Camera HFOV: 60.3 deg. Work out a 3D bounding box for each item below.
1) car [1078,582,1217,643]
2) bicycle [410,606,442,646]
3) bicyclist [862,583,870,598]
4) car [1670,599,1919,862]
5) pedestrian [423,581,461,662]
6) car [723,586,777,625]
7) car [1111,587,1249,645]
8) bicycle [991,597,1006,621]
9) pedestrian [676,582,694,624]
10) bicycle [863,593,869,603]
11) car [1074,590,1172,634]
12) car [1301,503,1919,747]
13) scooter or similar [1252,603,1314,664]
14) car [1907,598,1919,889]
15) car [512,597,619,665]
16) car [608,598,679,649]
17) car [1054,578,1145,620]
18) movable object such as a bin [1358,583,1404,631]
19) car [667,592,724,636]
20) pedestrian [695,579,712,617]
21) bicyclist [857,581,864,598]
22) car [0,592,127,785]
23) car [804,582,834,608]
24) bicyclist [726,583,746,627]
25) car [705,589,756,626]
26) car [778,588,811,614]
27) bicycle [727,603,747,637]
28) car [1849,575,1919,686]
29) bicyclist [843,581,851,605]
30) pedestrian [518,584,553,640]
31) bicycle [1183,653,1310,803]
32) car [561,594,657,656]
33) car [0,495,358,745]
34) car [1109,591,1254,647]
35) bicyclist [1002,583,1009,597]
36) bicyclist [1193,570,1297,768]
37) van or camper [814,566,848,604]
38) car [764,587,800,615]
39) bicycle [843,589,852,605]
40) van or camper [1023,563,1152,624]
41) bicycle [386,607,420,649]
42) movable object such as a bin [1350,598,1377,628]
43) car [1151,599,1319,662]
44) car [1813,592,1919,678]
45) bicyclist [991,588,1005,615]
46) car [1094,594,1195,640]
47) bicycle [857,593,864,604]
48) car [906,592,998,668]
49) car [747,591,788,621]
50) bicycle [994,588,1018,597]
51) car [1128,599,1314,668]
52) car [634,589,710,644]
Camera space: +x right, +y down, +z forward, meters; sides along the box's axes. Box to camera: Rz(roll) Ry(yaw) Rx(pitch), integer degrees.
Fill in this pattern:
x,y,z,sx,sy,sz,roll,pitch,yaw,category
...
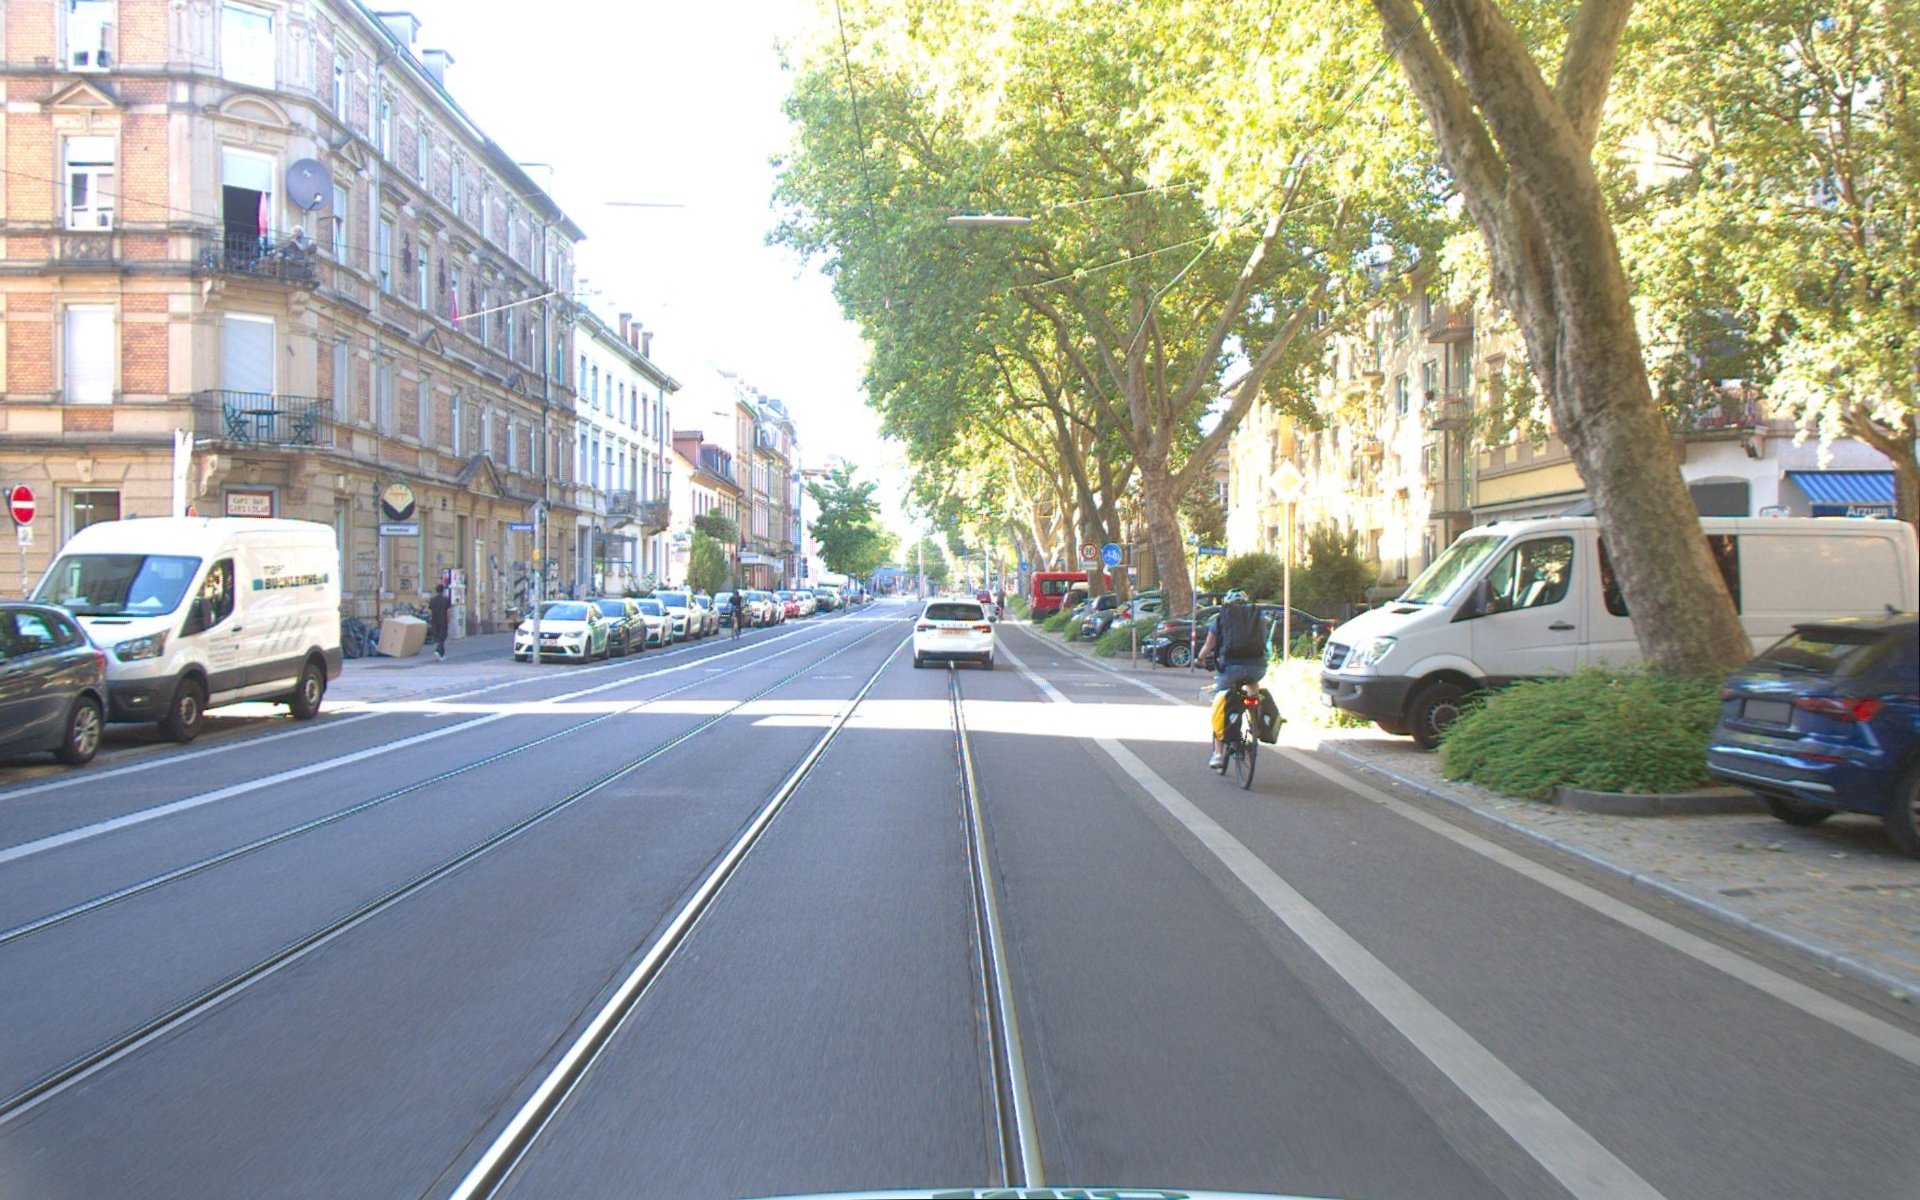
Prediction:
x,y,z,sx,sy,sz,roll,pitch,yaw,category
6.056,0.378,53.678,4.177,1.748,1.848,-3,0,-3,car
-14.703,0.697,45.545,0.365,1.052,1.847,0,0,-3,bicycle
-9.676,-0.961,170.150,0.625,1.529,1.070,-1,0,1,bicyclist
6.874,0.736,10.498,3.972,1.485,1.795,-1,0,-2,car
-11.956,0.481,38.182,0.671,1.832,1.055,1,0,-9,pedestrian
-9.708,0.222,76.741,1.818,1.733,4.763,-1,1,1,car
6.713,0.468,50.652,3.947,1.672,1.681,-1,0,-3,car
1.961,0.449,84.822,0.666,1.175,2.964,1,0,0,bicycle
-13.401,0.147,80.660,0.744,2.049,0.829,0,0,-3,pedestrian
-9.665,-0.227,170.122,0.488,0.959,1.922,-2,0,1,bicycle
6.181,0.445,62.999,3.522,1.544,1.693,-2,0,-1,car
6.648,0.225,17.048,5.867,2.322,2.006,0,1,1,car
6.871,0.712,35.128,1.279,1.277,0.341,0,0,13,scooter or similar
6.904,0.725,7.789,3.874,1.504,1.796,-1,0,-1,car
-9.587,0.720,40.478,1.705,1.518,4.044,1,0,-2,car
-9.694,0.694,50.903,1.666,1.445,3.996,1,0,-4,car
6.125,-0.029,72.678,3.742,1.678,1.766,-2,-1,-3,car
13.352,0.220,52.448,1.143,1.462,1.117,-2,0,0,movable object such as a bin
-9.851,0.492,61.885,1.629,1.547,4.062,1,0,-3,car
-12.490,-0.116,80.648,0.744,1.853,0.829,0,0,-3,pedestrian
-9.792,-0.998,162.585,0.524,1.663,0.897,-2,0,1,bicyclist
-9.133,0.771,14.396,1.684,1.660,4.345,0,0,-2,car
-10.511,-0.381,123.867,1.925,1.812,4.936,2,0,-2,car
-7.852,0.179,57.922,0.570,1.508,0.807,-1,0,-1,bicyclist
-9.872,0.302,71.417,1.521,1.542,3.925,-1,1,2,car
-10.298,0.044,103.154,1.790,1.529,4.686,1,1,-2,car
-7.830,0.681,58.081,0.412,1.170,2.231,-1,0,-1,bicycle
13.666,0.425,21.905,1.698,1.481,3.568,1,0,-4,car
-7.843,-0.487,115.062,0.463,1.664,0.800,0,0,0,bicyclist
-13.075,0.376,50.959,0.650,1.694,0.767,1,0,31,pedestrian
2.365,1.018,13.930,0.583,1.022,2.511,2,0,0,bicycle
-9.626,0.649,45.679,1.705,1.589,4.785,1,0,-2,car
-9.383,0.192,20.007,2.022,2.580,5.667,0,0,1,car
6.406,0.542,48.055,3.946,1.506,1.681,-1,0,-2,car
5.363,-1.198,195.944,0.721,1.616,0.587,-1,0,12,bicyclist
2.399,0.566,14.021,0.602,1.579,0.935,4,0,0,bicyclist
-11.134,-1.292,142.763,2.171,3.195,7.115,1,0,1,van or camper
-10.478,0.058,97.616,1.536,1.590,3.450,0,1,4,car
-7.838,-0.195,115.001,0.471,1.105,1.846,0,0,1,bicycle
5.904,-0.321,77.194,5.699,2.562,2.287,-2,1,-3,van or camper
-14.568,0.727,43.280,0.365,1.052,1.847,0,0,-3,bicycle
13.237,0.434,54.277,0.732,0.959,0.465,-2,0,-1,movable object such as a bin
6.841,0.756,41.447,4.010,1.517,1.682,0,0,4,car
19.757,0.698,33.966,3.602,1.644,1.692,0,2,-1,car
1.957,0.063,84.456,0.665,1.362,0.525,1,0,-1,bicyclist
6.741,0.629,60.567,3.521,1.627,1.541,0,0,0,car
-9.812,-0.138,162.637,0.474,1.065,2.040,-2,0,1,bicycle
-0.223,0.594,35.352,1.805,1.506,3.836,1,0,-2,car
-10.127,0.278,87.406,1.652,1.502,4.257,1,1,0,car
5.473,-0.842,195.924,2.711,1.017,0.593,1,0,14,bicycle
6.060,0.763,38.629,4.014,1.517,1.830,0,0,-3,car
-9.747,0.525,56.328,1.750,1.753,4.718,1,0,0,car
